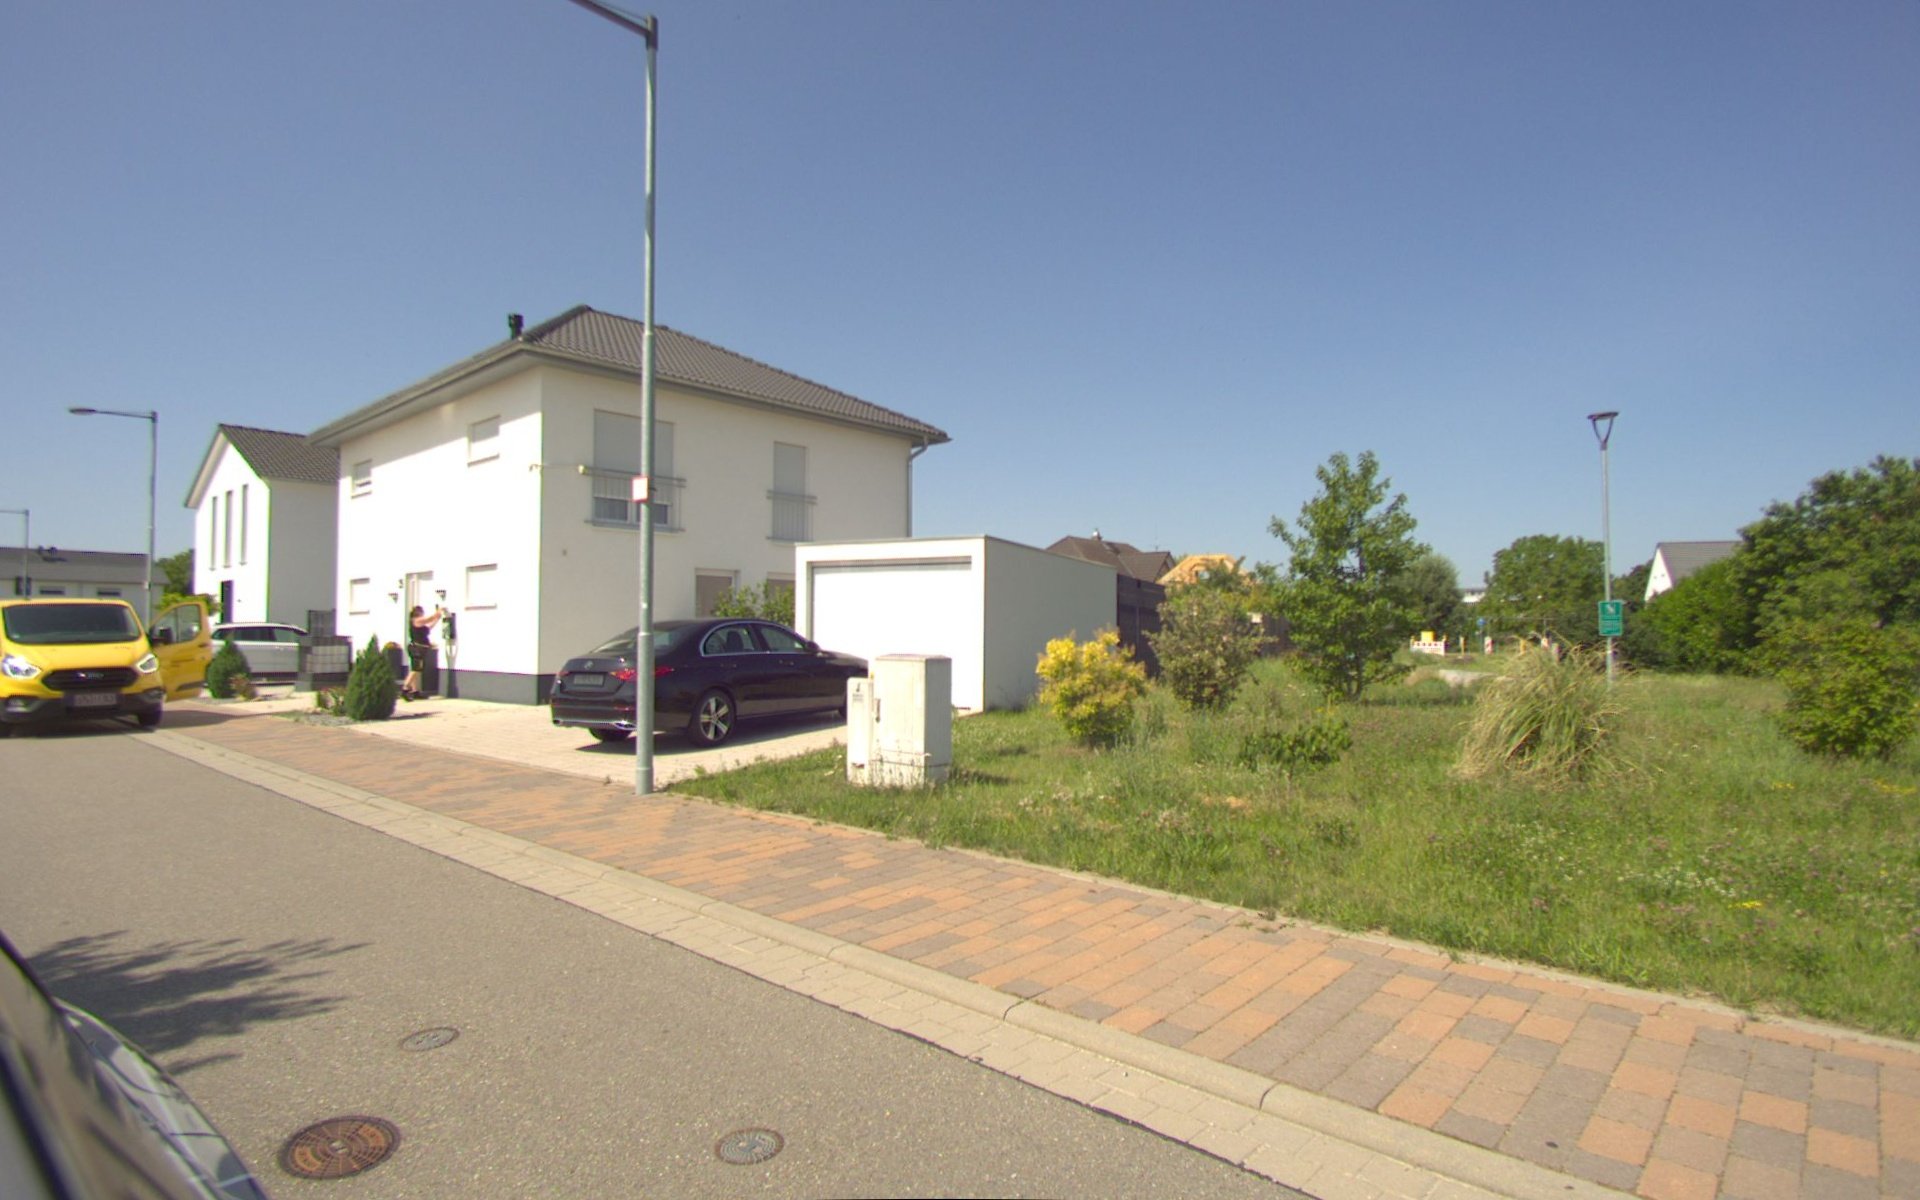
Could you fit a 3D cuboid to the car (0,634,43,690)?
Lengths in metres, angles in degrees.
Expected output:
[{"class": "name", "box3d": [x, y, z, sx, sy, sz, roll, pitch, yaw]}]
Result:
[{"class": "car", "box3d": [-27.912, 1.760, 29.272, 4.445, 1.484, 1.672, -2, -1, 43]}]

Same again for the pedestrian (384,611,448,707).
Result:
[{"class": "pedestrian", "box3d": [-10.088, 1.072, 18.771, 0.918, 1.698, 0.538, -1, -1, -38]}]

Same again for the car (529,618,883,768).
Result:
[{"class": "car", "box3d": [-2.864, 0.974, 12.432, 1.741, 1.463, 4.364, -1, -1, 29]}]

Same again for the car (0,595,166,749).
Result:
[{"class": "car", "box3d": [-14.008, 1.003, 15.481, 4.835, 2.029, 1.866, -2, -2, 38]}]
